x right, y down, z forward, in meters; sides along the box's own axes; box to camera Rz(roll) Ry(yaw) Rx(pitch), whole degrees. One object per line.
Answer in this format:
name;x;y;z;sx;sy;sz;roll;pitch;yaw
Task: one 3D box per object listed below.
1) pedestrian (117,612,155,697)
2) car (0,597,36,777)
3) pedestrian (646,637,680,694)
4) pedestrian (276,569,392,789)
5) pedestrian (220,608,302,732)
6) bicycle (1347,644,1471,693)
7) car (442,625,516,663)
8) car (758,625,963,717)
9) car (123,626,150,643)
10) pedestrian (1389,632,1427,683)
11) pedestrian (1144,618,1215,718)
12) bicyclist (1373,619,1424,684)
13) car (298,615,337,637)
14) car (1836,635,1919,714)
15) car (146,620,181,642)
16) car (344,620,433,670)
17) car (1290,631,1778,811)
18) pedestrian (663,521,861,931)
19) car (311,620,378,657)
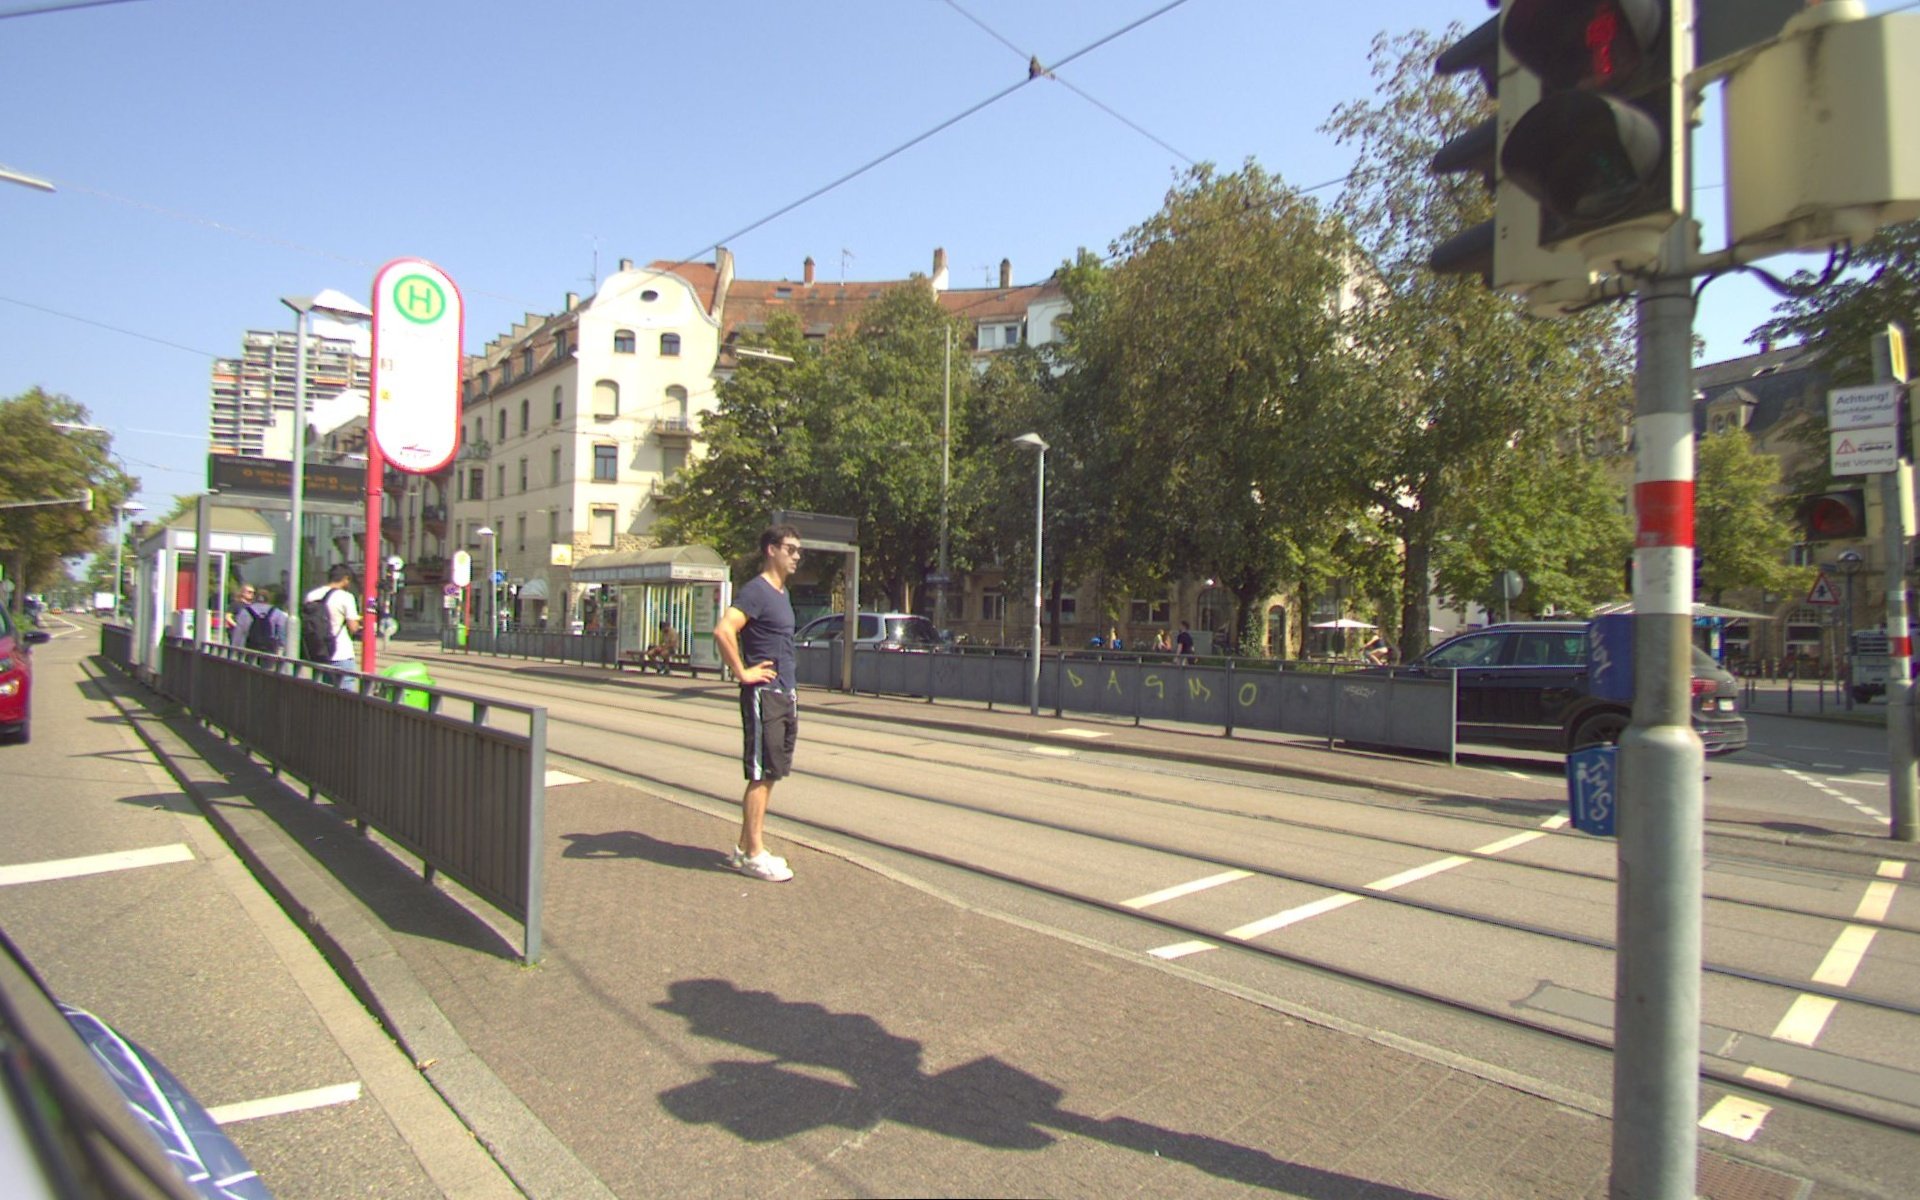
pedestrian;-17.089;1.119;20.984;0.527;1.706;0.833;3;-3;-40
car;-11.706;0.880;11.367;1.777;1.825;4.419;3;-3;-44
pedestrian;-6.714;1.479;22.891;0.473;1.260;0.649;3;-3;-42
pedestrian;-5.787;0.702;9.352;0.665;1.899;0.923;3;-3;-44
pedestrian;-9.418;0.925;13.629;0.728;1.596;0.854;3;-3;-43
bicycle;14.474;2.197;32.724;3.446;1.447;1.219;1;-2;10
car;-23.741;2.129;49.824;1.969;1.739;4.636;5;-4;-42
car;-2.246;1.476;21.890;1.970;1.739;4.635;5;-4;-43
car;-87.633;3.662;107.679;1.969;1.739;4.636;5;-4;-42
pedestrian;18.354;2.334;41.452;1.020;2.029;1.097;1;-1;-38
pedestrian;4.649;1.406;21.469;1.078;2.029;1.037;2;-1;-43
bicyclist;14.191;1.642;32.808;1.198;2.029;1.206;2;-1;9
car;-54.070;2.194;85.118;1.969;1.739;4.636;5;-4;-42
car;26.779;2.019;27.660;4.940;2.029;2.173;2;-2;-21
car;-68.426;2.669;86.944;1.969;1.739;4.636;5;-4;-42
car;-21.548;1.662;38.075;1.969;1.739;4.638;4;-4;-41
car;6.541;1.254;12.015;1.968;1.660;4.639;4;-4;-39
pedestrian;-0.981;0.595;5.227;0.668;1.899;0.919;1;-2;11
car;-31.111;1.942;51.112;1.969;1.739;4.636;5;-4;-42
